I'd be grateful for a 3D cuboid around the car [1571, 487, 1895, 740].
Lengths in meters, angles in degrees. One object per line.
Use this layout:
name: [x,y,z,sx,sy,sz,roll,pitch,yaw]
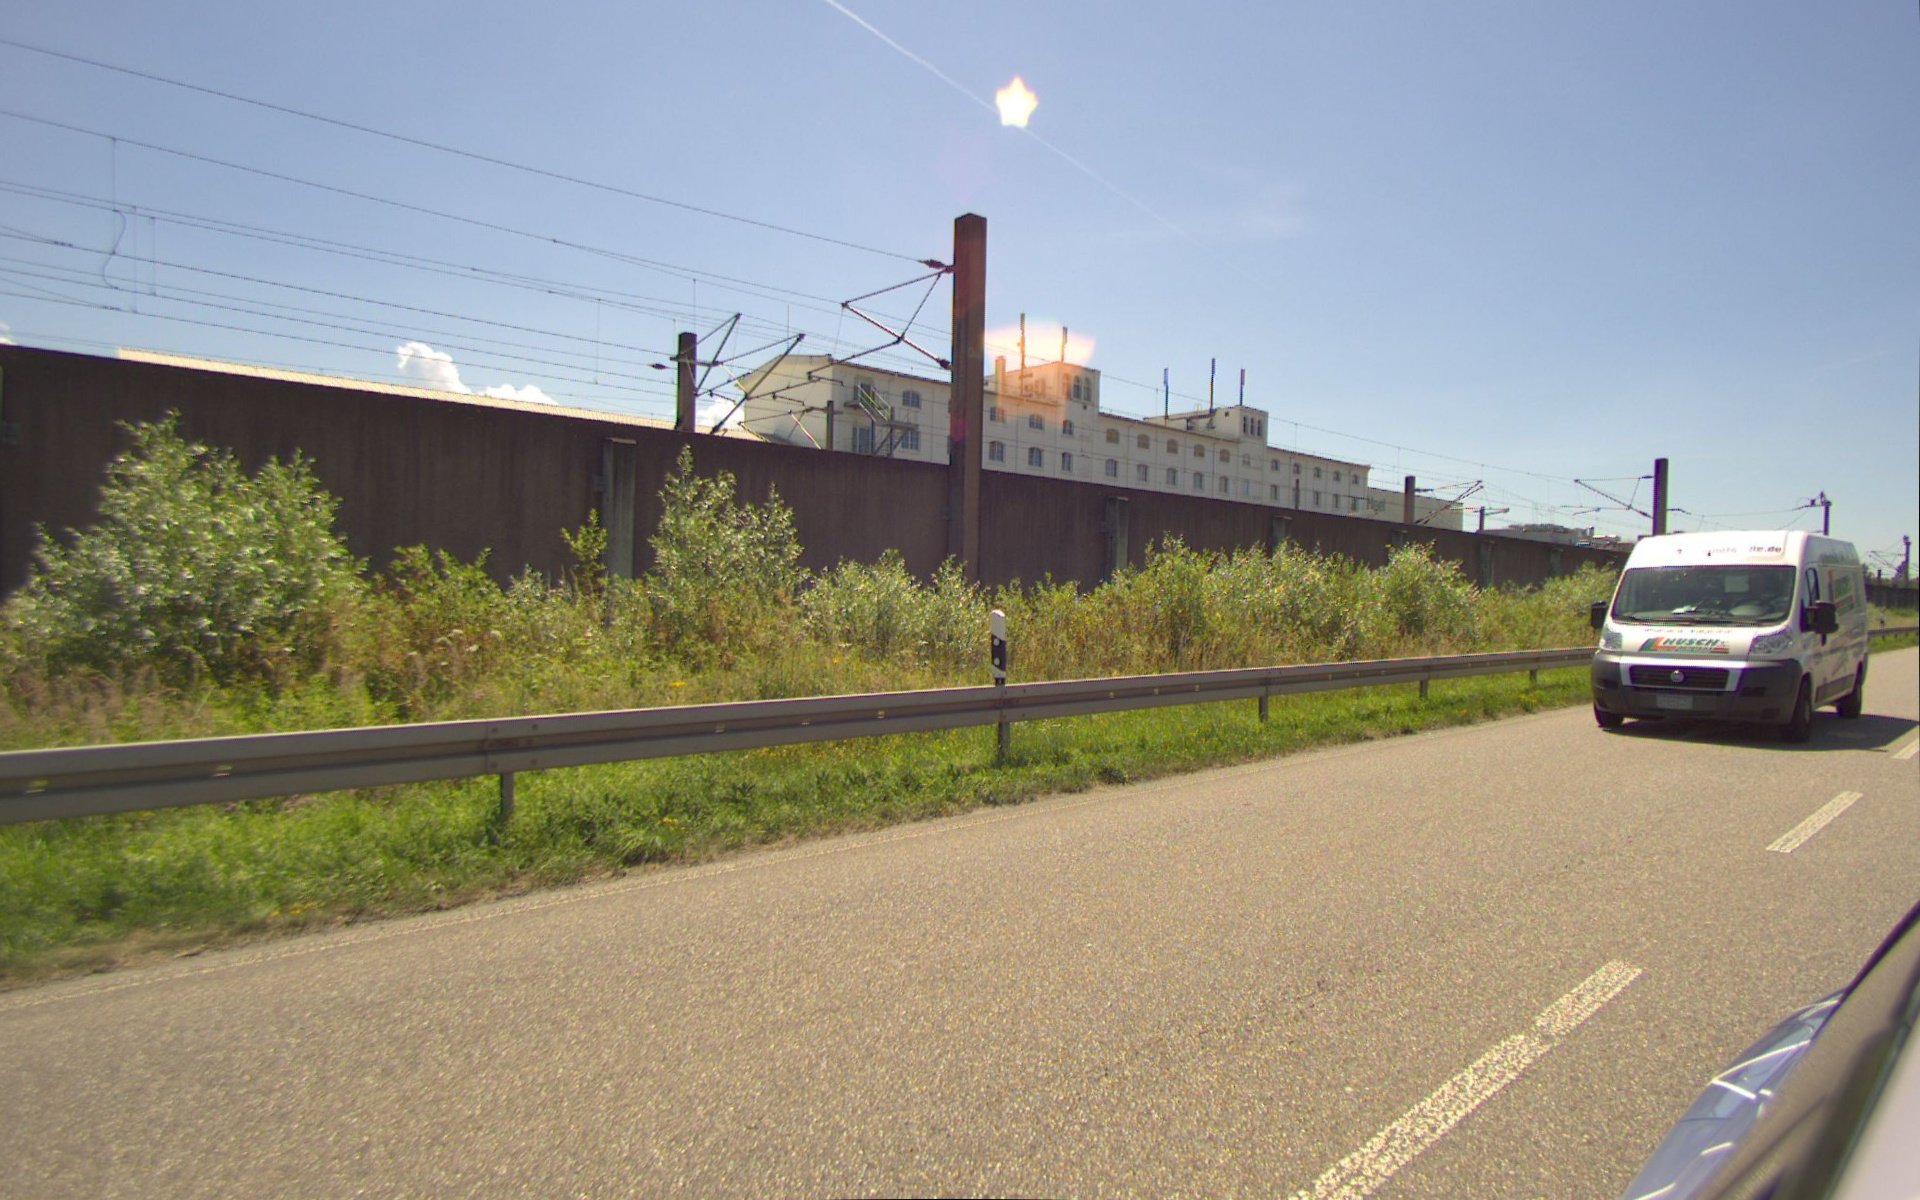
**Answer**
car: [10.572,0.159,13.564,6.632,2.637,2.192,1,-1,-41]
